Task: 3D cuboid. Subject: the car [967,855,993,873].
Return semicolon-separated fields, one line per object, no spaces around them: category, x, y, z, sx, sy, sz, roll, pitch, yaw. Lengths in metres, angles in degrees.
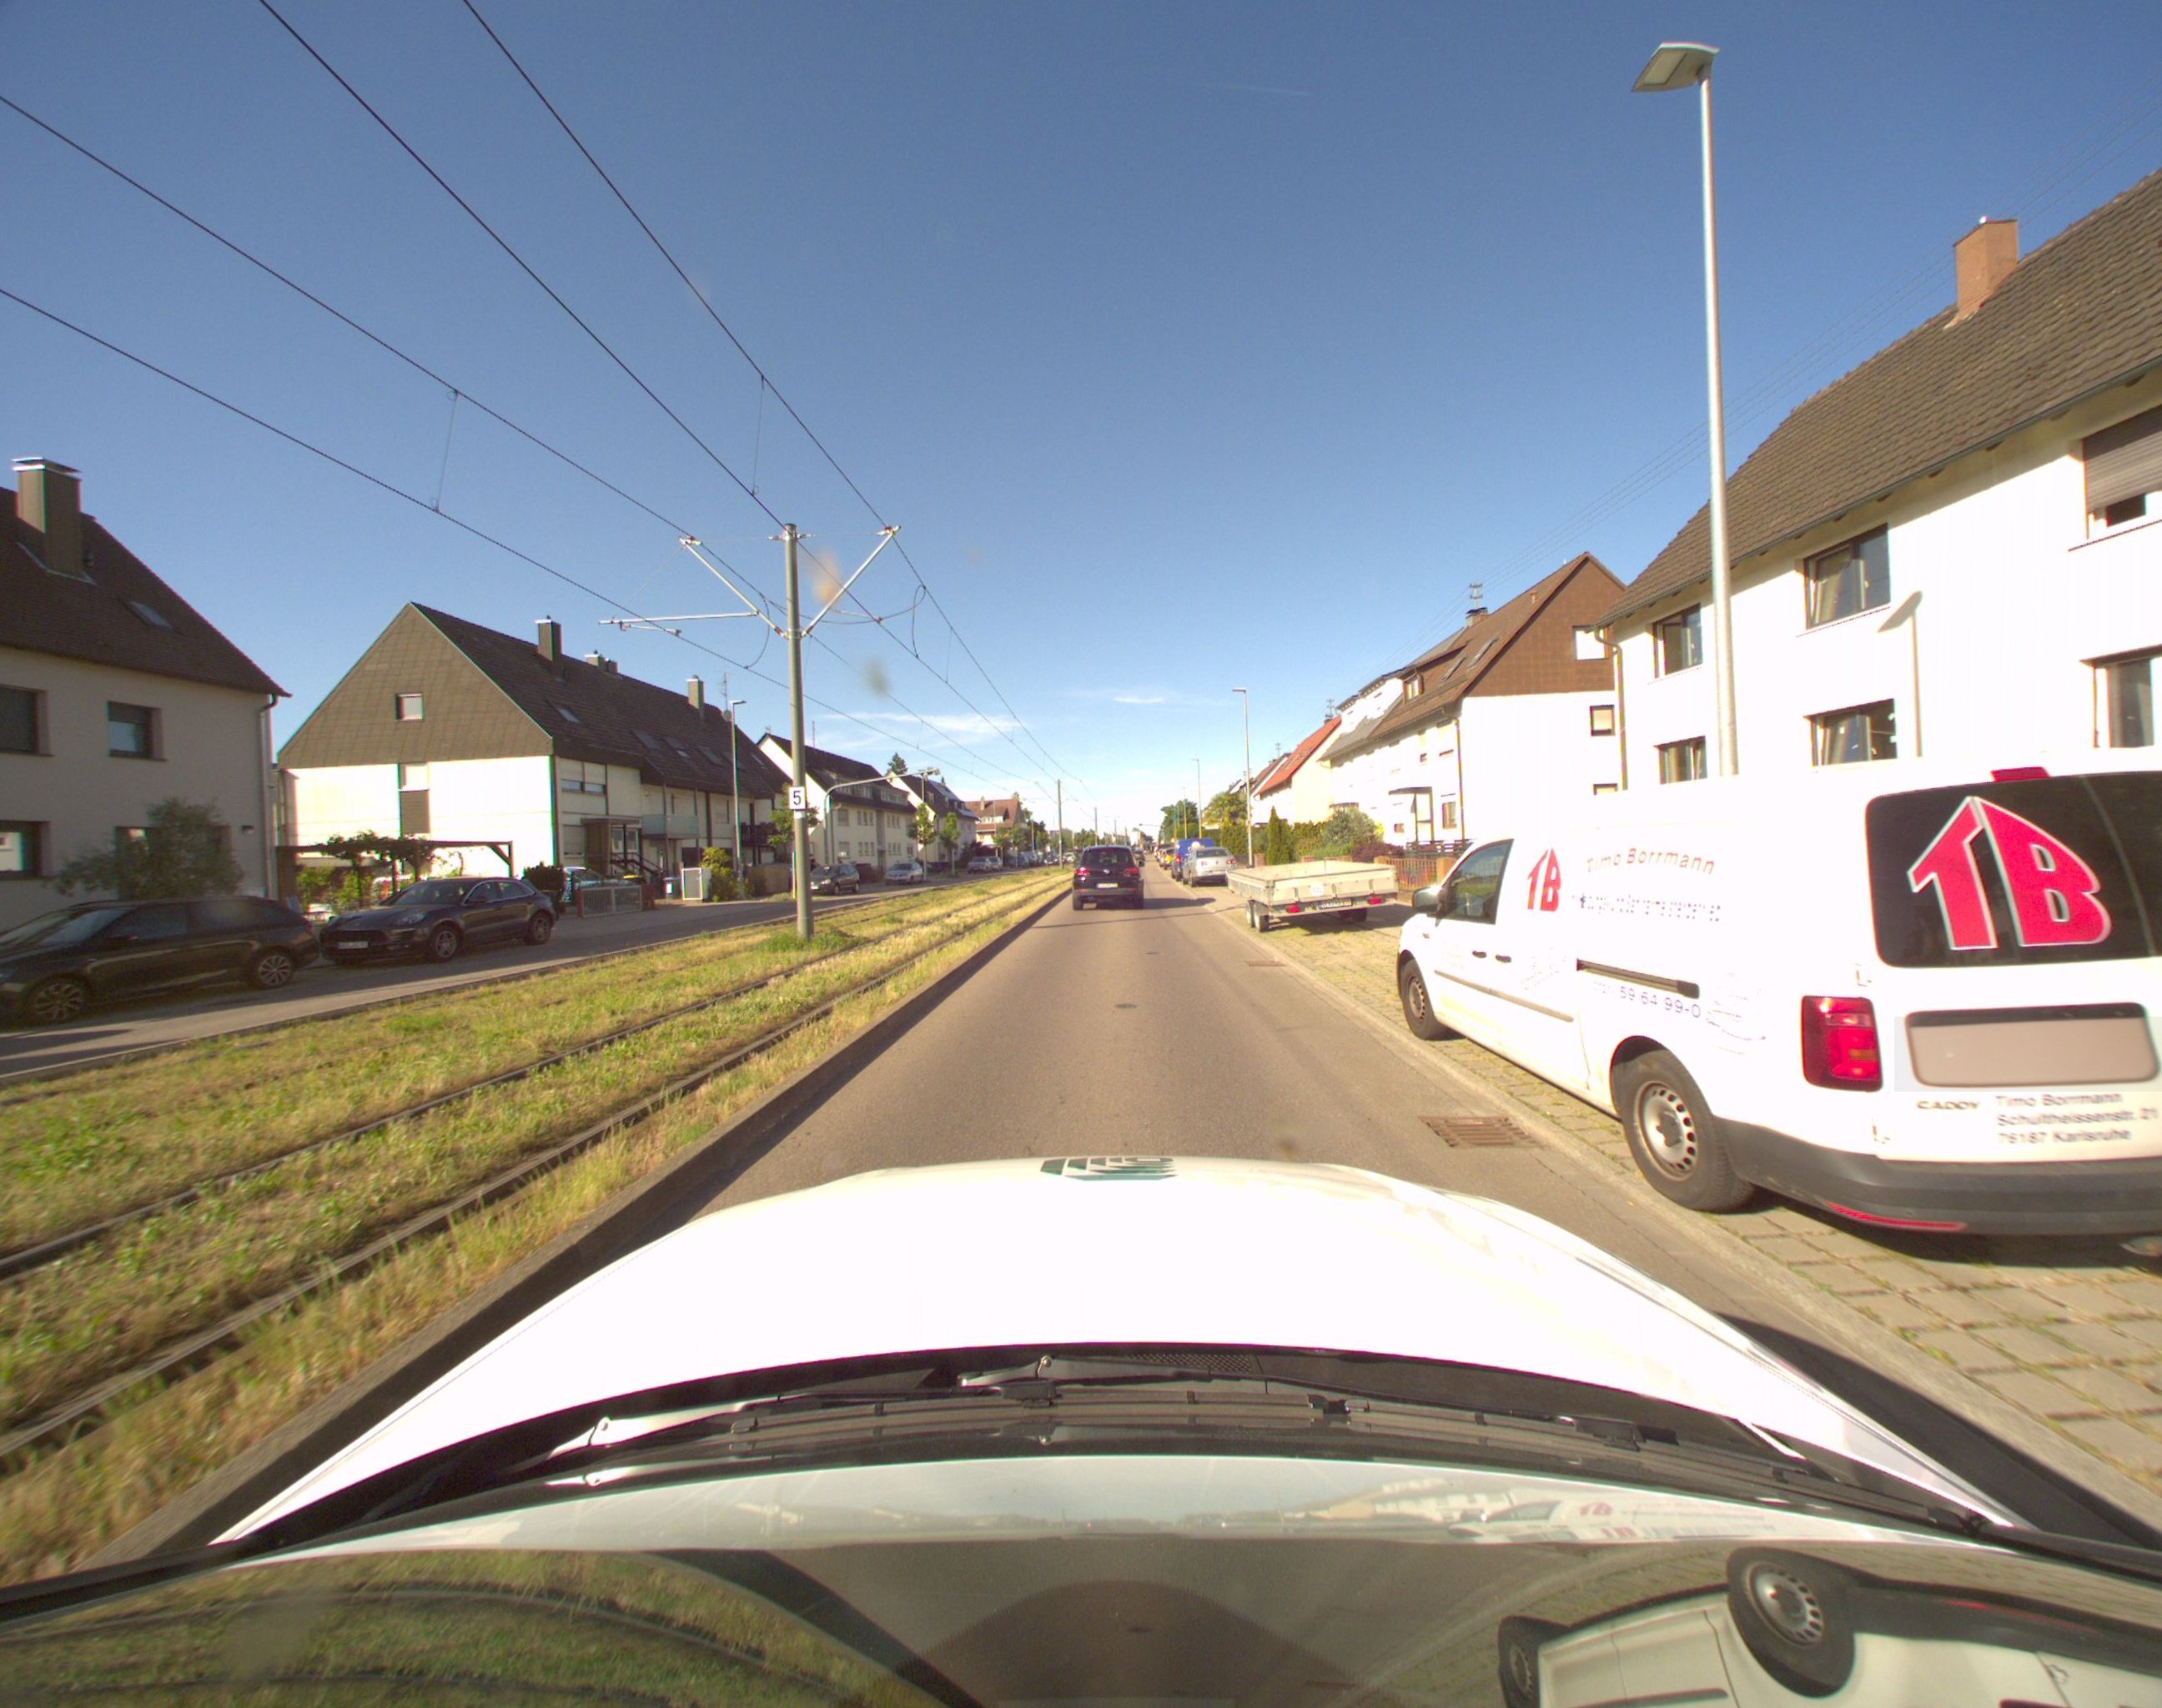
car;-9.140;0.866;74.127;1.652;1.496;3.582;-3;0;3

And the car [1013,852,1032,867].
car;-6.929;0.694;96.267;1.653;1.581;4.003;-3;-2;3

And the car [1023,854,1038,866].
car;-6.305;0.693;102.202;1.509;1.361;3.592;-3;0;2

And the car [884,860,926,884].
car;-10.973;1.123;51.024;1.612;1.409;3.720;-3;-2;3

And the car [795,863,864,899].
car;-11.767;1.210;38.286;1.610;1.453;3.726;-3;0;7

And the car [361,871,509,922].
car;-24.304;1.591;30.725;4.138;1.654;1.860;-3;0;5

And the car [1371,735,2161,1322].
car;3.318;0.511;4.831;1.683;1.776;4.659;-3;0;3

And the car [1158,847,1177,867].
car;7.160;0.255;67.606;1.445;1.551;3.834;-3;0;4

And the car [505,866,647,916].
car;-19.047;1.362;30.867;4.154;1.616;1.758;-3;0;-2

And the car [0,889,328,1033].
car;-13.313;1.370;11.349;1.514;1.475;4.204;-2;0;3

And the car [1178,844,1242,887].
car;4.954;0.406;31.863;1.780;1.441;4.460;-4;0;1

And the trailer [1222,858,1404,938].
trailer;4.056;0.710;15.103;2.196;1.093;4.373;-4;0;2

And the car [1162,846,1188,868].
car;6.901;0.217;60.151;1.638;1.534;3.867;-2;0;3

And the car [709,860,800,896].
car;-16.663;1.194;41.698;3.895;1.568;1.732;-3;0;-5

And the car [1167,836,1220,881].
car;5.210;0.192;38.236;1.985;1.862;4.921;-3;0;3

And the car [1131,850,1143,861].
car;7.598;0.235;110.538;1.566;1.391;3.617;-3;0;2

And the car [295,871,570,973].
car;-13.023;1.252;16.867;1.797;1.597;4.811;-3;0;-1

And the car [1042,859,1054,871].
car;-4.841;1.639;119.171;1.459;1.677;3.290;-3;-1;3

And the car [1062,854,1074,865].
car;-1.809;0.841;118.396;1.459;1.454;3.290;-3;-1;3

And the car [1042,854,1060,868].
car;-3.796;0.944;103.976;1.866;1.655;4.002;-3;-2;3

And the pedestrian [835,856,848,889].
pedestrian;-13.125;1.018;44.645;0.466;1.746;0.536;-3;0;2

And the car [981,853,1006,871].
car;-8.595;0.763;80.274;1.796;1.631;4.003;-3;0;3

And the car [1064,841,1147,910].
car;0.561;0.534;22.209;1.809;1.671;4.250;-1;0;-5
